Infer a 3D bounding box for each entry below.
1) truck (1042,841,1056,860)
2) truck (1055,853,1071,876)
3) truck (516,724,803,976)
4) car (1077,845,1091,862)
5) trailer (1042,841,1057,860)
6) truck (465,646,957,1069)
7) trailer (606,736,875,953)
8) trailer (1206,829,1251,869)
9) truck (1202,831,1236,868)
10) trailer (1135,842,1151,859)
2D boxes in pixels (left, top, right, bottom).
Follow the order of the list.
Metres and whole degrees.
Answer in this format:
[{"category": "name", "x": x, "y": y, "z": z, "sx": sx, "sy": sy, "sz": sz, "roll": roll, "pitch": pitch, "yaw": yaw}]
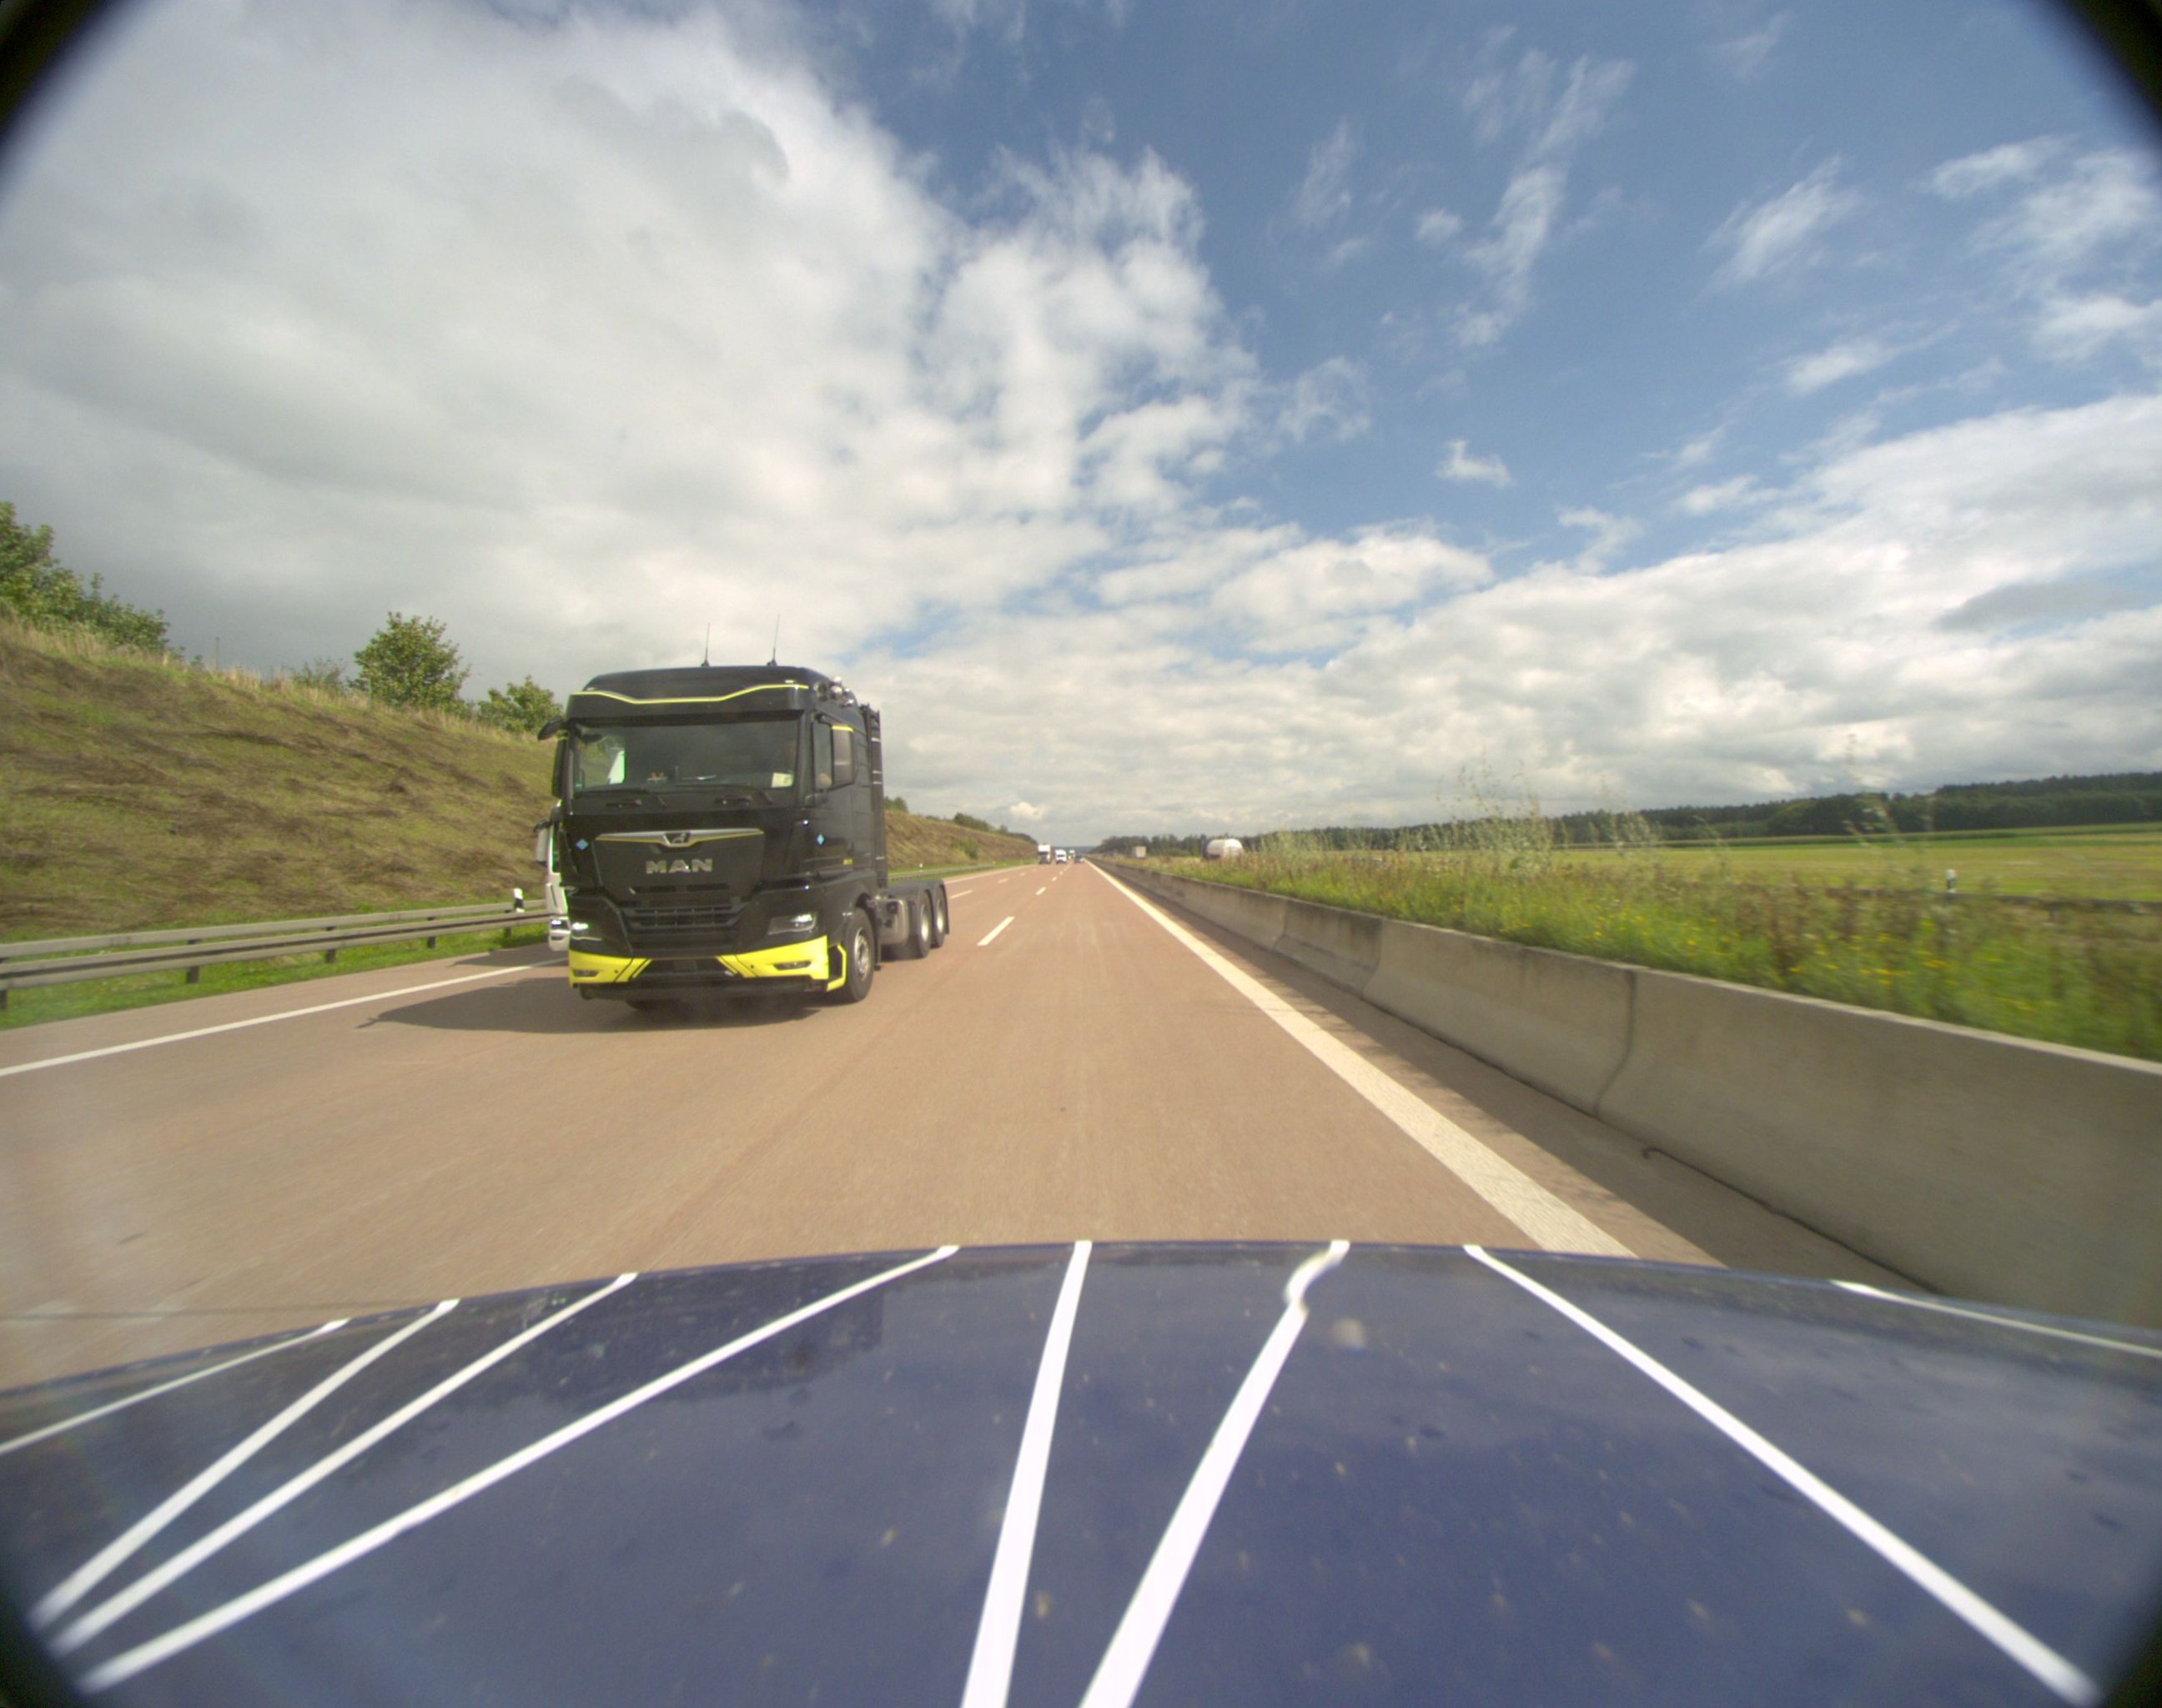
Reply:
[{"category": "truck", "x": -7.125, "y": -0.835, "z": 168.290, "sx": 2.681, "sy": 4.082, "sz": 6.616, "roll": -2, "pitch": 0, "yaw": 0}, {"category": "truck", "x": -3.602, "y": 2.138, "z": 154.587, "sx": 2.681, "sy": 4.333, "sz": 11.808, "roll": -3, "pitch": 0, "yaw": 0}, {"category": "truck", "x": -7.472, "y": -0.081, "z": 14.281, "sx": 2.756, "sy": 3.869, "sz": 4.544, "roll": -2, "pitch": 1, "yaw": -2}, {"category": "car", "x": 0.619, "y": -0.026, "z": 157.244, "sx": 2.773, "sy": 3.260, "sz": 6.392, "roll": -3, "pitch": 0, "yaw": 1}, {"category": "trailer", "x": -7.119, "y": -0.804, "z": 174.342, "sx": 2.679, "sy": 4.069, "sz": 12.788, "roll": -2, "pitch": 0, "yaw": 0}, {"category": "truck", "x": -3.841, "y": -0.006, "z": 10.700, "sx": 2.855, "sy": 3.529, "sz": 8.317, "roll": -2, "pitch": 1, "yaw": -1}, {"category": "trailer", "x": -7.592, "y": -0.220, "z": 18.698, "sx": 2.755, "sy": 3.989, "sz": 8.668, "roll": -2, "pitch": 1, "yaw": -2}, {"category": "trailer", "x": 15.920, "y": -0.527, "z": 82.725, "sx": 2.899, "sy": 4.074, "sz": 11.037, "roll": 1, "pitch": 0, "yaw": 1}, {"category": "truck", "x": 16.006, "y": -0.537, "z": 88.407, "sx": 2.899, "sy": 4.075, "sz": 6.335, "roll": 1, "pitch": 0, "yaw": 1}, {"category": "trailer", "x": 16.591, "y": -0.881, "z": 204.870, "sx": 3.216, "sy": 4.074, "sz": 13.258, "roll": -3, "pitch": 0, "yaw": 1}]
